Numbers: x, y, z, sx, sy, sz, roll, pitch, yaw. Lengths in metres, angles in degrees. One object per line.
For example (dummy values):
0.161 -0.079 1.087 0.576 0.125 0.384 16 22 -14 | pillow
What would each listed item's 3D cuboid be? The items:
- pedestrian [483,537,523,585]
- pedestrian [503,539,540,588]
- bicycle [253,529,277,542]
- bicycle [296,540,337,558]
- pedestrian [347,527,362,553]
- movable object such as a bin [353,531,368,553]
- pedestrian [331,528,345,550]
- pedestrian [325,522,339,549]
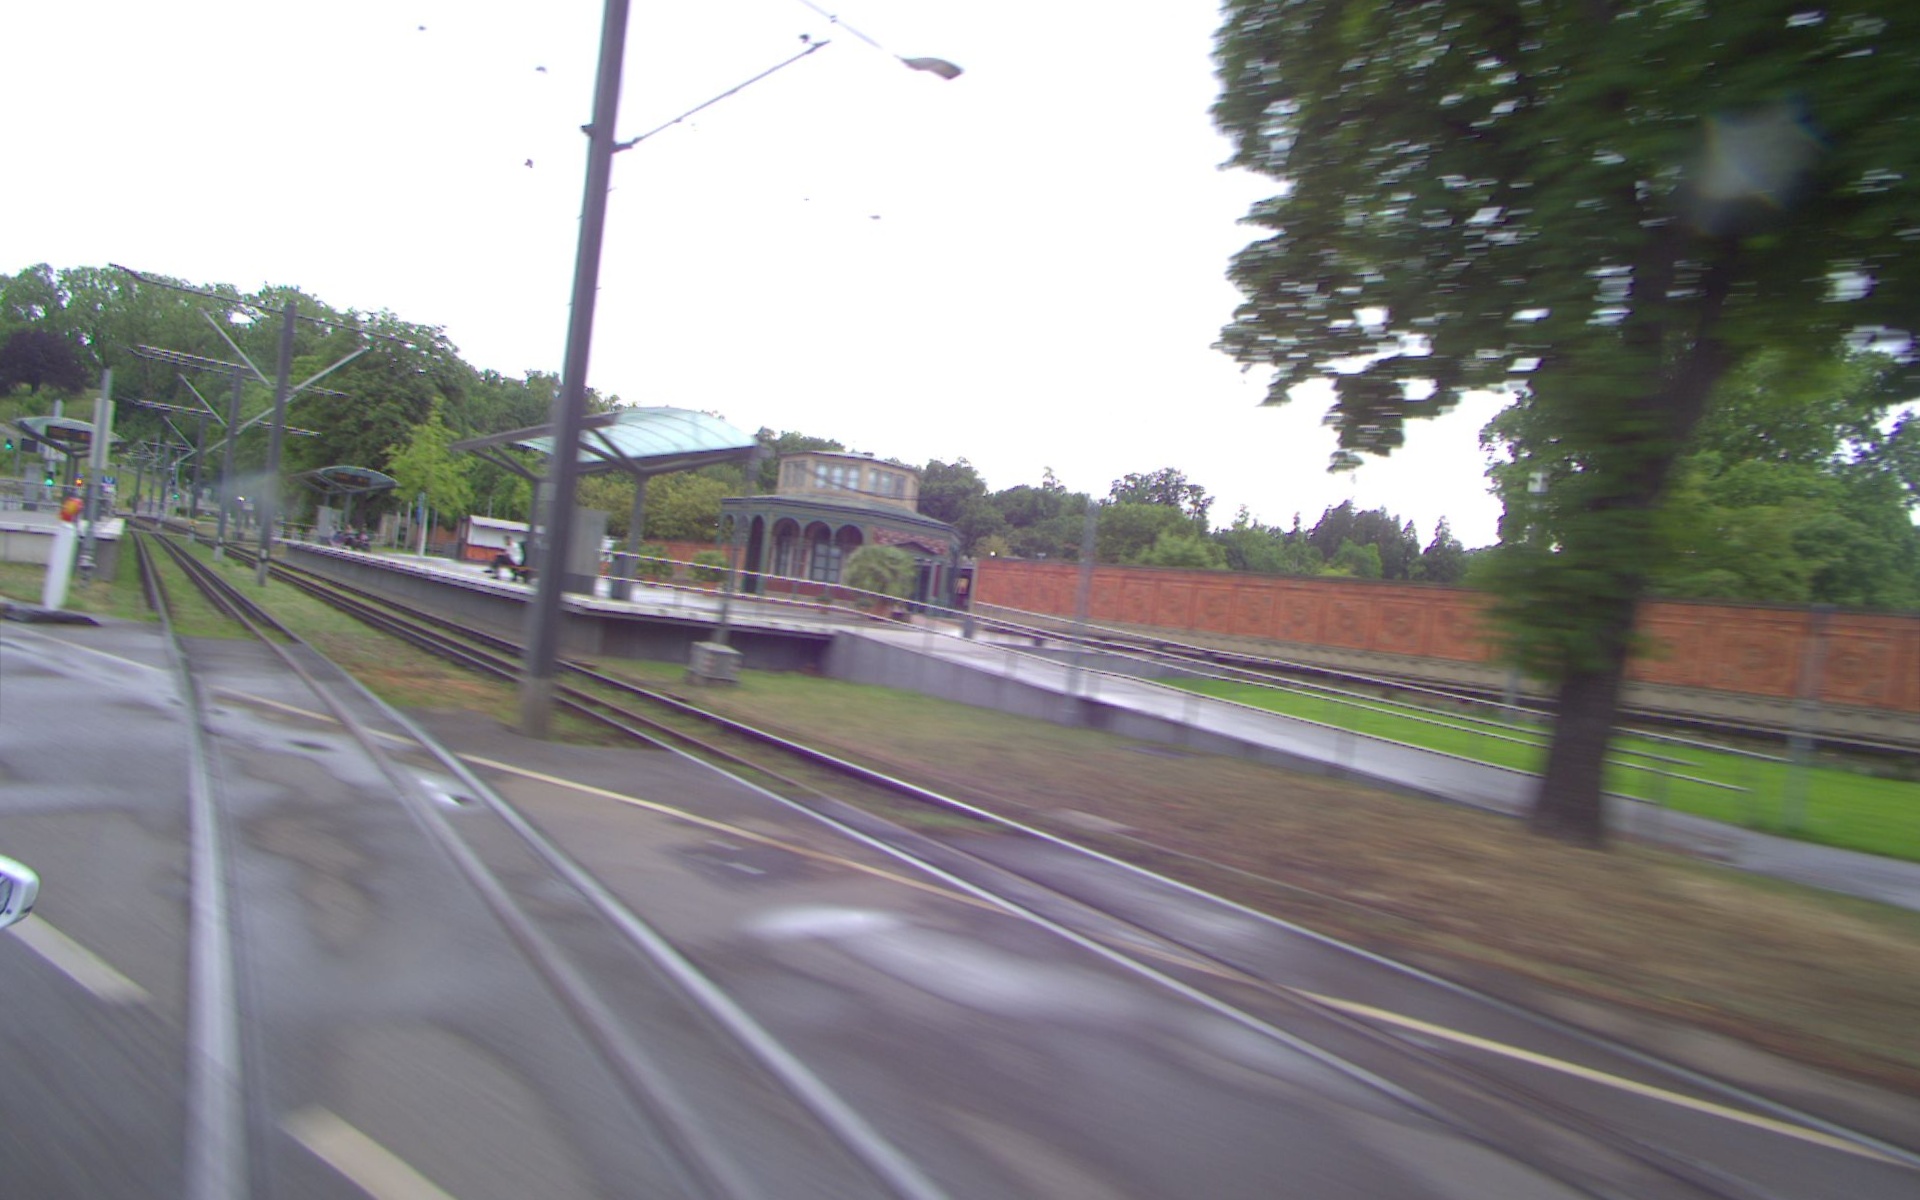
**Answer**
-11.969 -1.029 26.357 0.512 1.130 0.601 7 -4 34 | pedestrian
-11.981 -1.001 27.474 0.518 1.225 0.773 12 -5 -44 | pedestrian
-67.474 -6.264 97.639 1.804 1.045 0.645 7 1 -43 | bicycle
-45.958 -3.631 71.846 2.312 0.969 0.563 6 1 -42 | bicycle
-29.916 -2.952 49.697 0.435 1.241 0.545 5 1 -39 | pedestrian
-29.209 -2.814 49.012 0.435 1.021 0.674 5 1 -39 | movable object such as a bin
-30.053 -2.954 48.613 0.435 1.021 0.545 5 1 -39 | pedestrian
-30.583 -3.125 48.963 0.435 1.241 0.545 5 1 -39 | pedestrian
